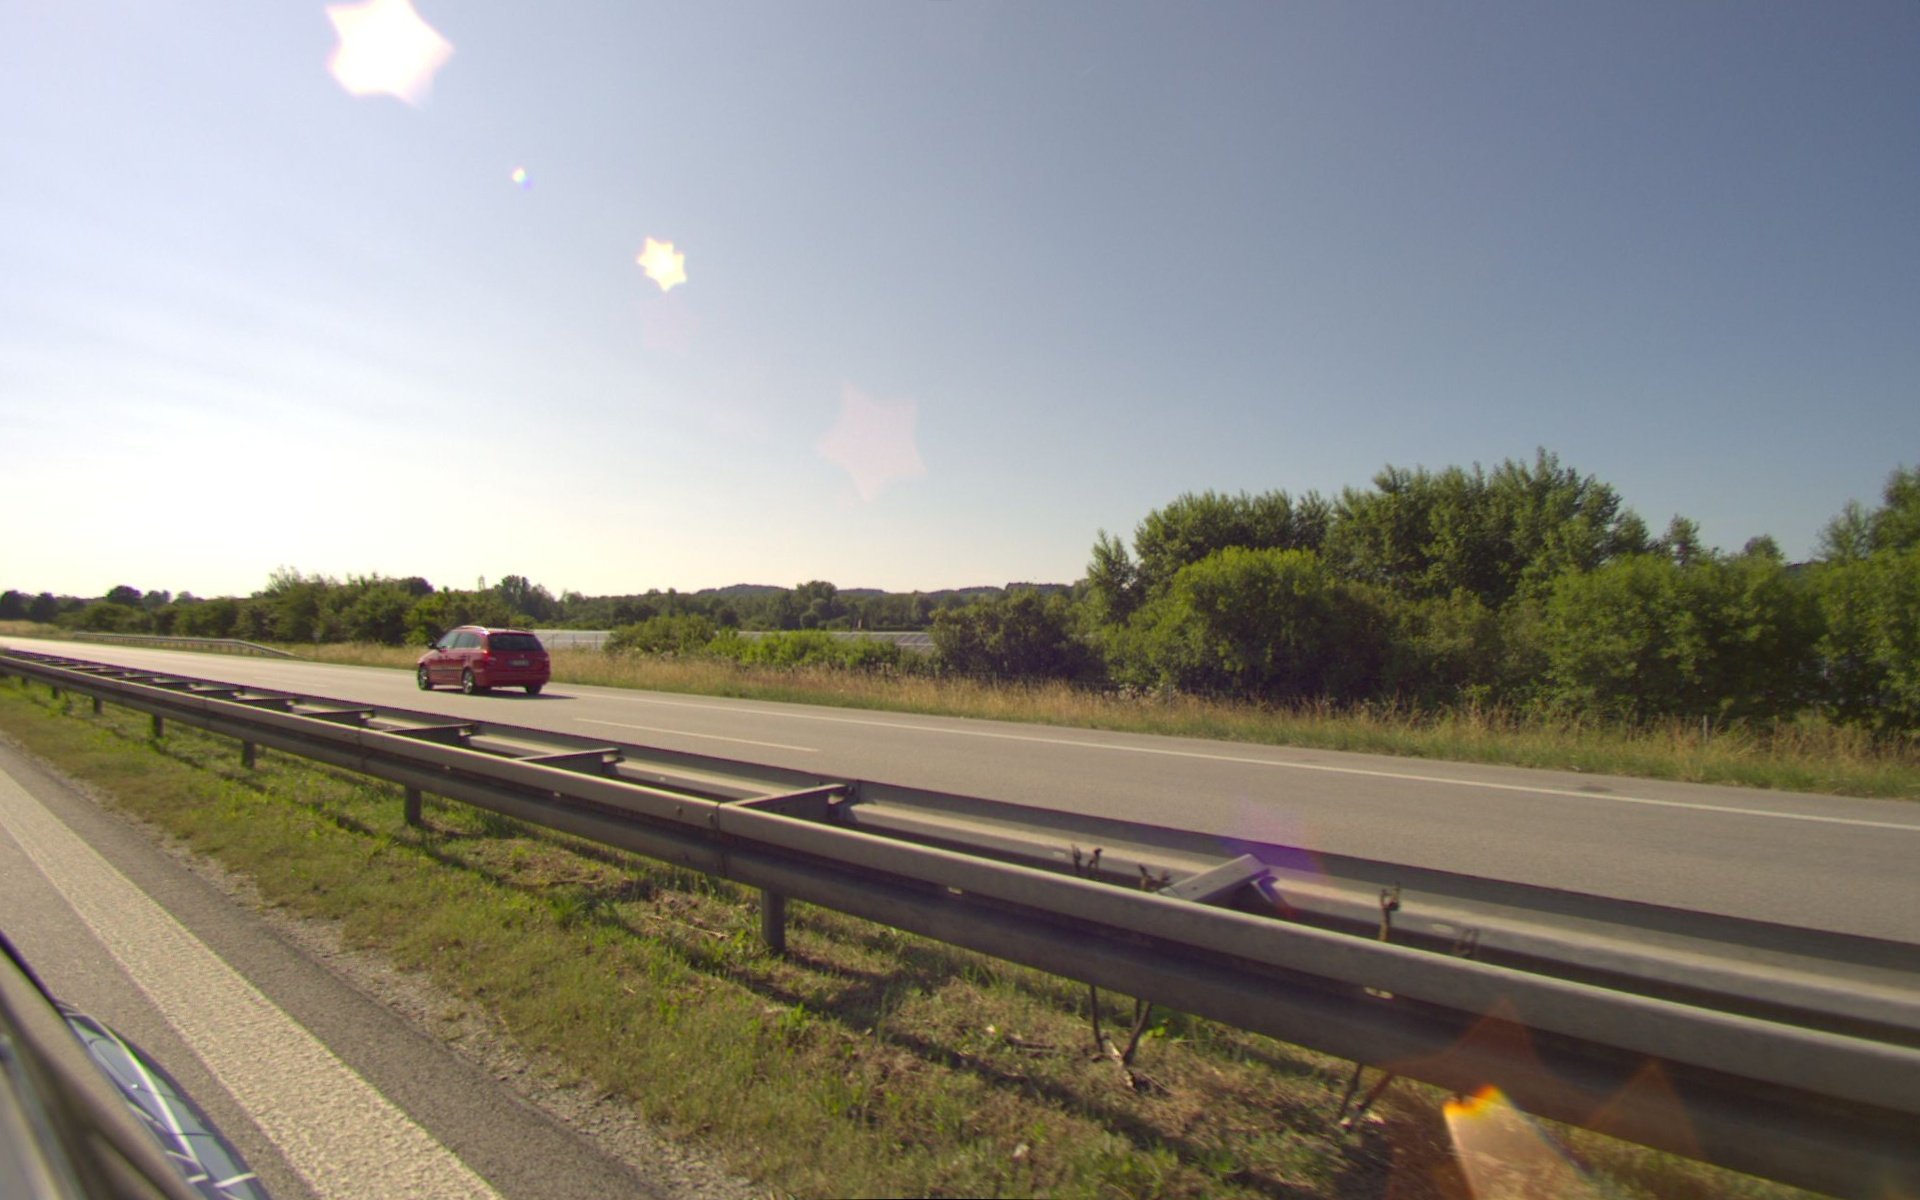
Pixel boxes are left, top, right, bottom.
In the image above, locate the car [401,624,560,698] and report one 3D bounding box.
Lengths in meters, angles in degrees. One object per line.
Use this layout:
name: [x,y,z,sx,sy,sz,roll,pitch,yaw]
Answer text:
car: [-11.118,1.354,23.312,4.479,1.523,1.711,-1,-4,43]
